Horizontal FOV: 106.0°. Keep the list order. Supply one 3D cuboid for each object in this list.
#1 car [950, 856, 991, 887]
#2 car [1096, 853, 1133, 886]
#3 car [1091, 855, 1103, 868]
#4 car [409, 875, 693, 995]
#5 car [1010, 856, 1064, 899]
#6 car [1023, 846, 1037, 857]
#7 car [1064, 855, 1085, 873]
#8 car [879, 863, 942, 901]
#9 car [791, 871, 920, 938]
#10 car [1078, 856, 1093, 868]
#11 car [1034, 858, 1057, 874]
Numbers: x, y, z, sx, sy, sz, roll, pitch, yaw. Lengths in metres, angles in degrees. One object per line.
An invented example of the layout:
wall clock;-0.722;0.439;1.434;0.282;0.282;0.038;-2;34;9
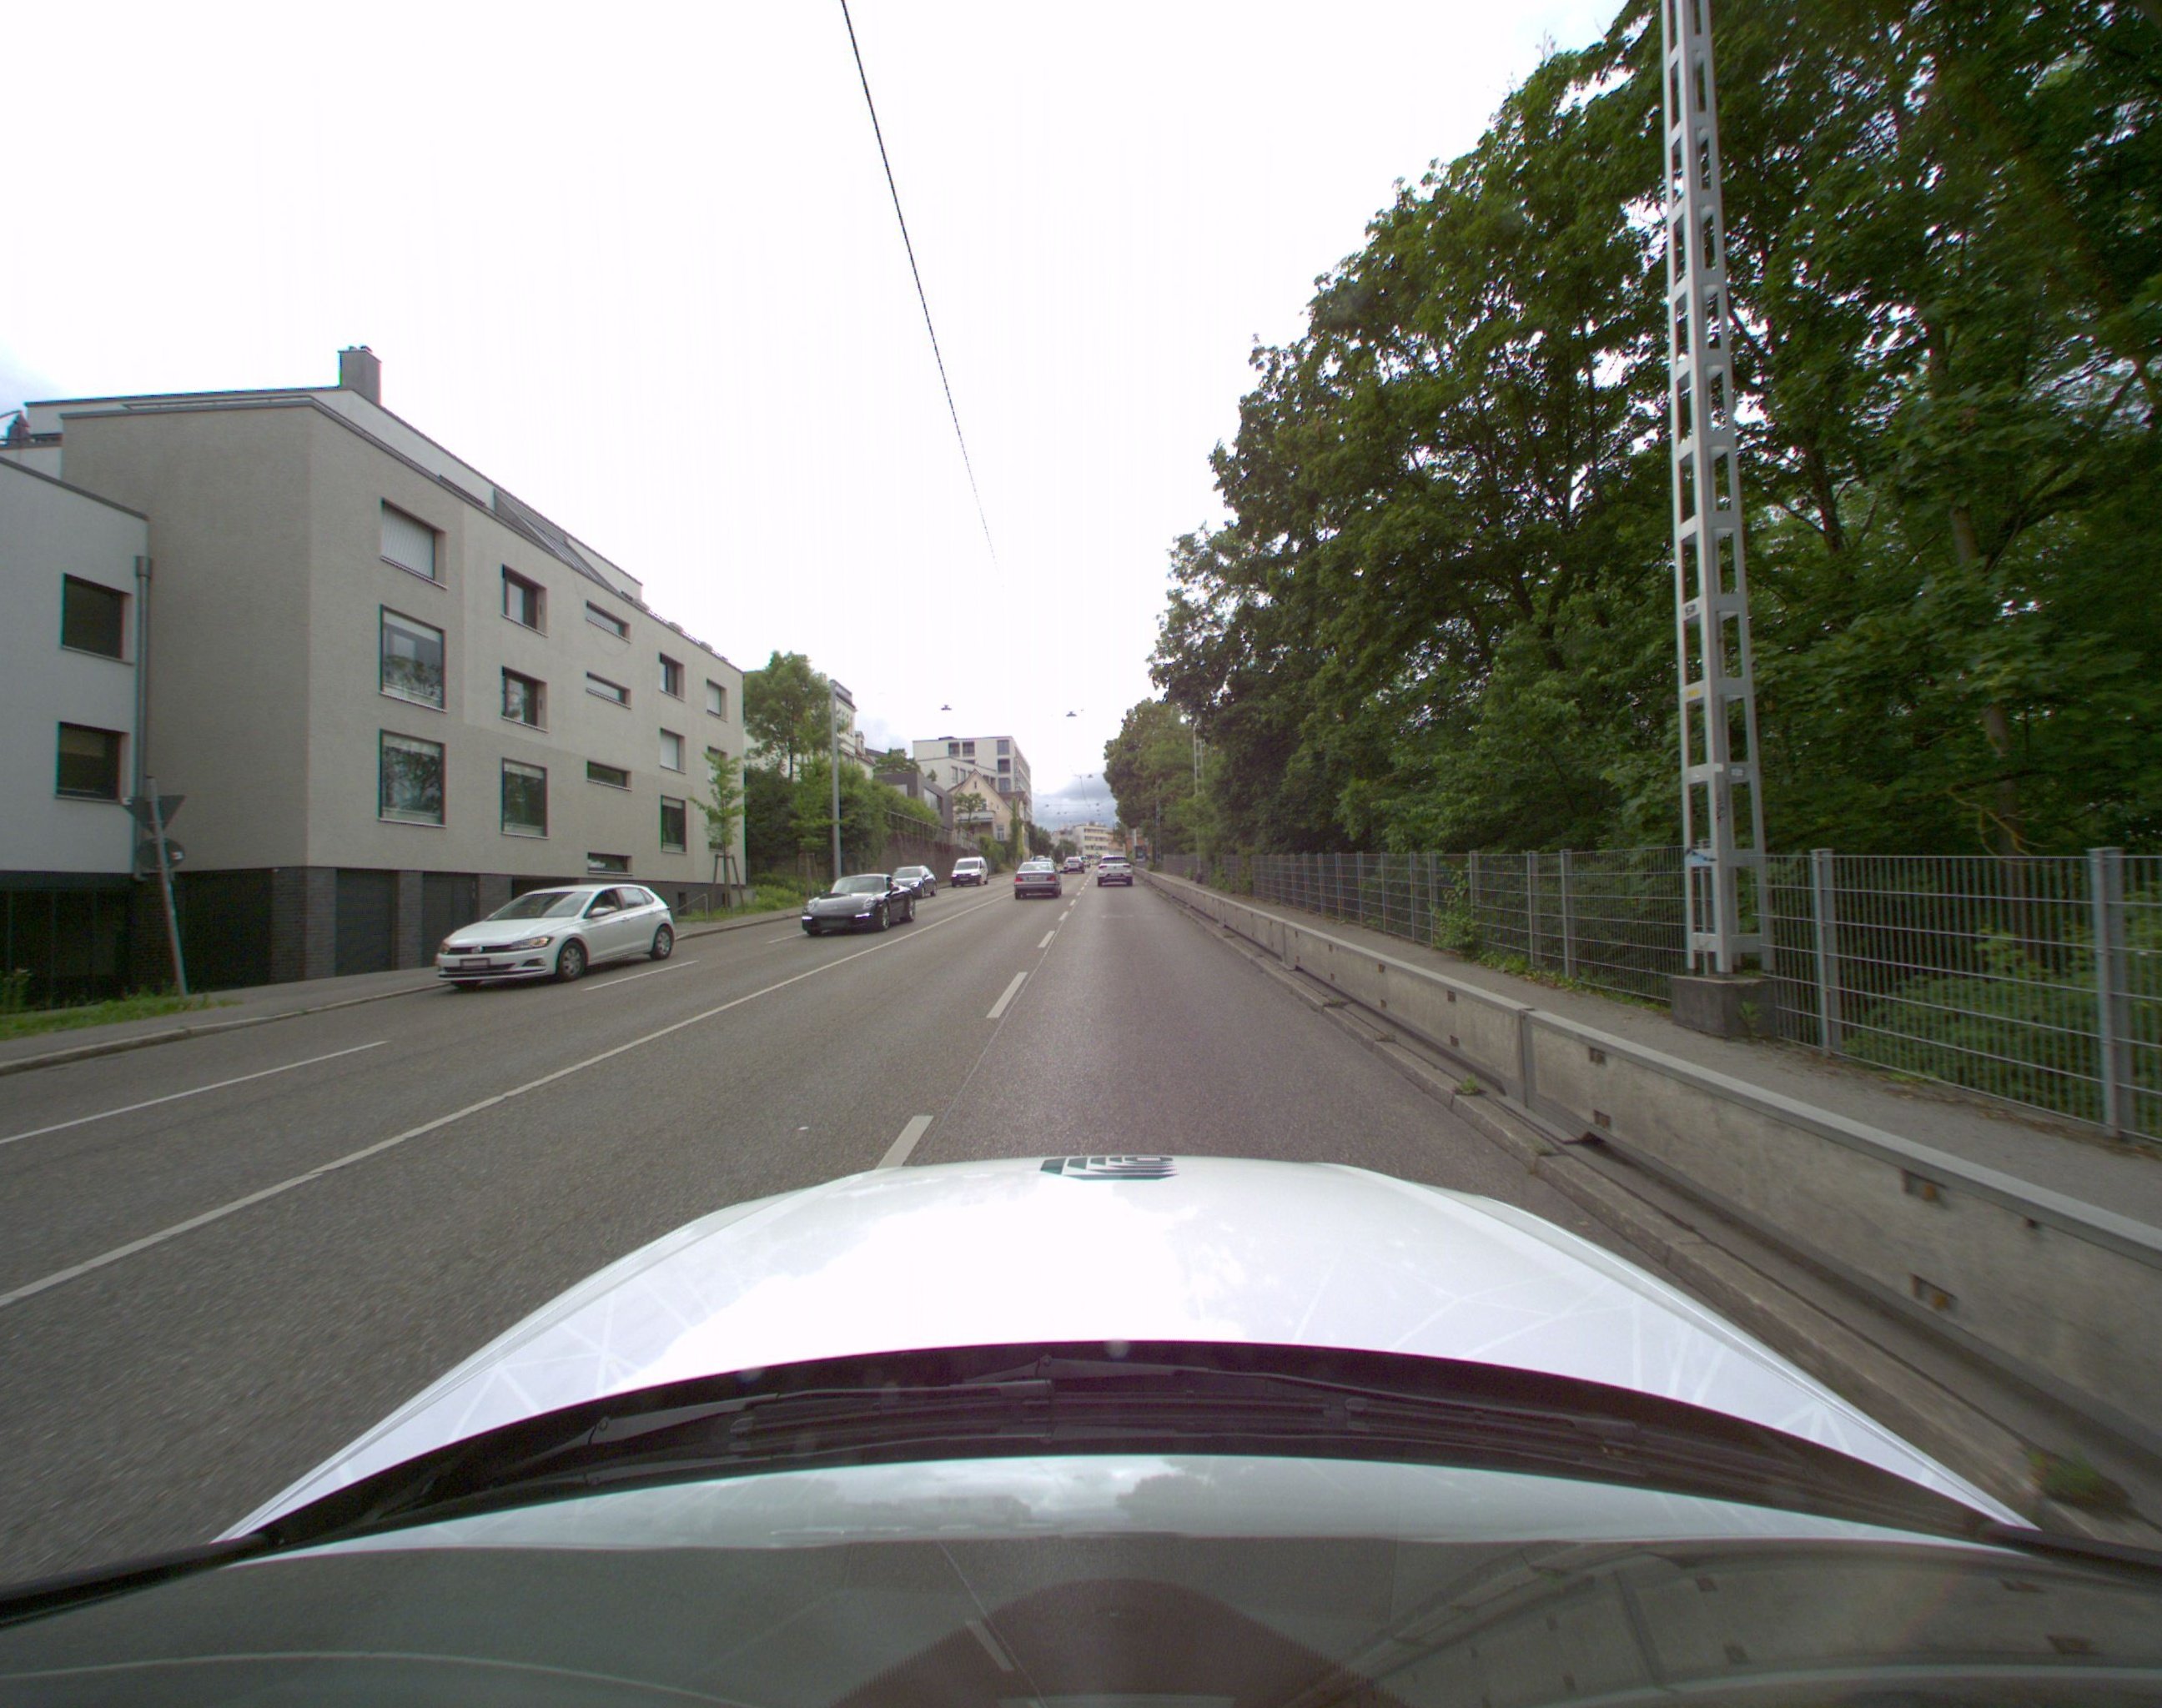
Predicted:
car;-7.007;1.078;52.187;1.726;1.788;4.869;-4;0;2
car;1.677;0.757;41.936;1.774;1.579;4.000;-1;0;1
car;2.309;1.073;116.088;1.650;1.765;3.288;-1;0;2
car;-8.355;1.182;13.391;1.767;1.464;4.193;-3;0;2
car;-1.621;0.843;31.247;1.700;1.464;4.001;-2;0;2
car;-8.130;-0.387;129.901;1.989;1.701;3.996;-2;0;-2
car;-0.537;0.849;71.532;1.700;1.464;4.001;-2;0;2
car;-7.600;1.218;36.729;1.726;1.464;4.425;-4;0;2
car;-5.233;1.117;19.500;1.747;1.269;4.193;-3;0;2
car;0.616;0.988;102.005;1.700;1.464;4.001;-2;0;2
car;-3.418;1.138;78.963;1.809;1.386;4.464;-4;0;2
